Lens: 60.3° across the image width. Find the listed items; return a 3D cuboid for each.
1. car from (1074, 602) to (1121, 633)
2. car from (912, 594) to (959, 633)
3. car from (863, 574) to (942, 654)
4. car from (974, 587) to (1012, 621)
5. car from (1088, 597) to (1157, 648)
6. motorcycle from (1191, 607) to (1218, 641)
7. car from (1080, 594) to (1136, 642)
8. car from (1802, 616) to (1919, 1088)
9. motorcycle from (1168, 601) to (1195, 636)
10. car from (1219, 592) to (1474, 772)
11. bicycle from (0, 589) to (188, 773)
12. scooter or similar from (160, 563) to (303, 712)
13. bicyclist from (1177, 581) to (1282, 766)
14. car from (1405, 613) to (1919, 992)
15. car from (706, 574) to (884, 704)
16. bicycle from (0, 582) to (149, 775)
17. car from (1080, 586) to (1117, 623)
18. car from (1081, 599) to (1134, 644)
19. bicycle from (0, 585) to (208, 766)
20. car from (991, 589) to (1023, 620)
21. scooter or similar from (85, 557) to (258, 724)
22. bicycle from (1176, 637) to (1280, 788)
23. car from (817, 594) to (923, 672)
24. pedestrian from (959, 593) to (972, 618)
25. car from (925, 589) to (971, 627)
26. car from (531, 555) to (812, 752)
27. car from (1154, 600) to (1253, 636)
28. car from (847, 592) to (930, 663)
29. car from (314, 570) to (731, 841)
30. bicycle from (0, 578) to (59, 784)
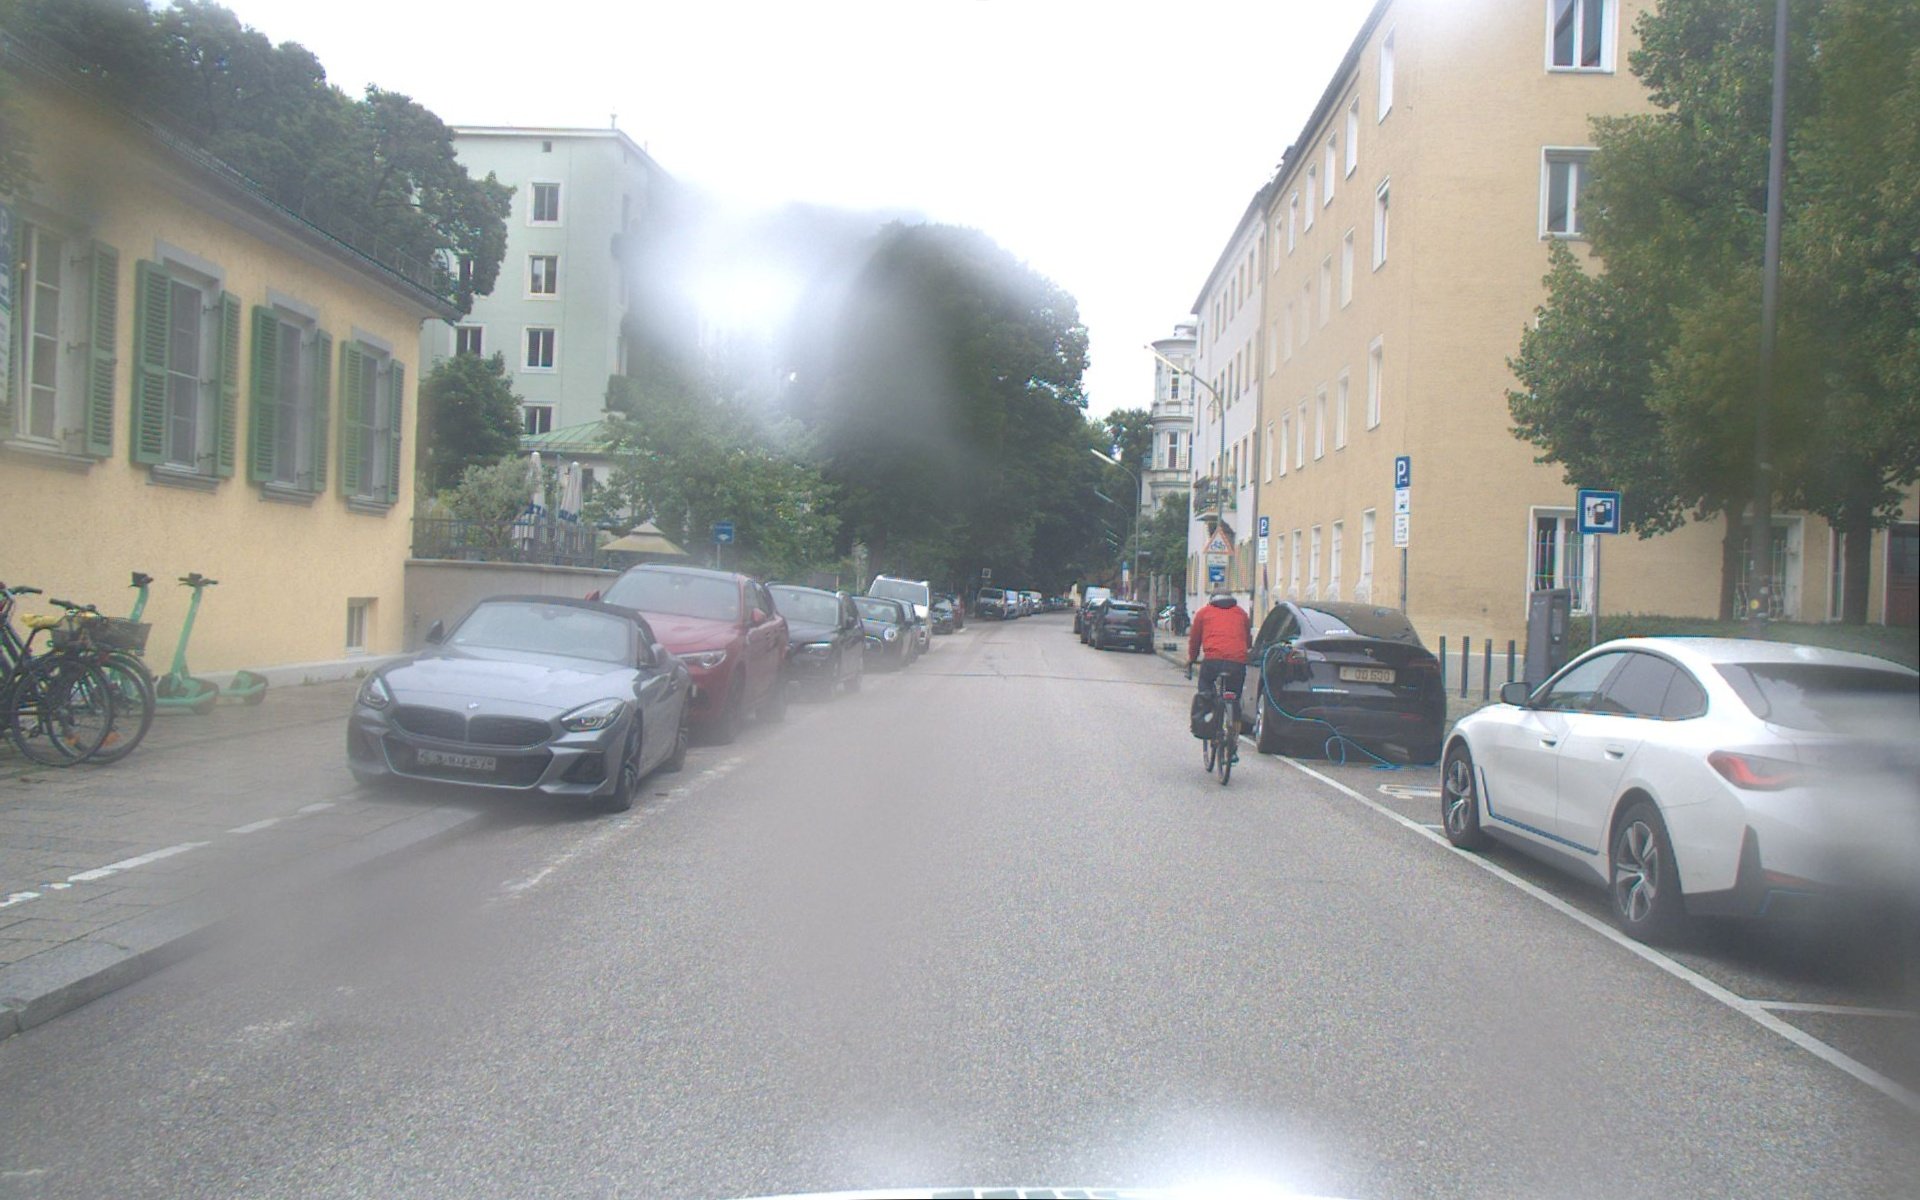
[{"bbox_3d":[6.247,0.769,75.790,1.958,1.342,4.597,0,0,2],"label":"car"},{"bbox_3d":[-0.956,0.519,67.426,1.770,1.426,4.924,3,0,0],"label":"car"},{"bbox_3d":[-1.559,0.368,46.650,1.926,2.025,5.151,3,0,0],"label":"car"},{"bbox_3d":[2.123,0.225,105.228,2.201,1.990,5.455,3,0,2],"label":"car"},{"bbox_3d":[5.401,0.723,55.560,1.822,1.604,4.899,1,0,0],"label":"car"},{"bbox_3d":[9.320,0.903,63.093,0.717,1.260,2.008,3,0,1],"label":"motorcycle"},{"bbox_3d":[5.887,0.701,66.293,1.952,1.736,4.536,4,0,3],"label":"car"},{"bbox_3d":[4.175,0.913,3.954,1.922,1.579,4.851,3,0,2],"label":"car"},{"bbox_3d":[9.624,0.798,71.883,0.839,1.458,2.707,2,0,1],"label":"motorcycle"},{"bbox_3d":[4.227,0.816,18.957,1.952,1.659,5.102,3,0,4],"label":"car"},{"bbox_3d":[-6.073,0.526,11.062,1.595,1.157,0.387,2,0,0],"label":"bicycle"},{"bbox_3d":[-6.809,0.343,15.508,0.356,1.337,1.252,2,0,26],"label":"scooter or similar"},{"bbox_3d":[2.326,0.616,14.388,0.739,1.509,0.982,3,0,4],"label":"bicyclist"},{"bbox_3d":[4.228,0.906,9.414,1.953,1.485,4.956,3,0,0],"label":"car"},{"bbox_3d":[-2.344,0.529,24.719,1.807,1.635,4.745,3,0,4],"label":"car"},{"bbox_3d":[-6.185,0.484,10.687,1.666,1.192,0.352,2,0,0],"label":"bicycle"},{"bbox_3d":[8.759,0.310,104.800,2.157,2.247,4.857,1,0,3],"label":"car"},{"bbox_3d":[5.405,0.751,61.004,1.800,1.558,4.417,1,0,4],"label":"car"},{"bbox_3d":[-6.183,0.508,11.611,1.459,1.169,0.642,3,0,3],"label":"bicycle"},{"bbox_3d":[3.349,0.306,116.894,2.138,1.990,5.168,3,0,2],"label":"car"},{"bbox_3d":[-6.756,0.338,14.224,0.368,1.366,1.351,2,0,28],"label":"scooter or similar"},{"bbox_3d":[2.323,0.940,14.527,0.658,1.161,2.012,3,0,4],"label":"bicycle"},{"bbox_3d":[-1.874,0.666,35.586,1.820,1.571,4.189,0,0,3],"label":"car"},{"bbox_3d":[0.367,0.352,104.812,0.699,1.575,0.752,4,0,-1],"label":"pedestrian"},{"bbox_3d":[-0.542,0.366,77.157,1.848,1.618,4.529,3,0,2],"label":"car"},{"bbox_3d":[-2.905,0.497,17.817,1.862,1.721,4.810,3,0,3],"label":"car"},{"bbox_3d":[12.362,0.898,84.186,4.804,1.558,1.914,2,3,2],"label":"car"},{"bbox_3d":[-1.711,0.626,40.675,1.849,1.570,4.695,2,0,-1],"label":"car"},{"bbox_3d":[-2.989,0.636,12.422,1.858,1.545,4.654,3,0,-1],"label":"car"},{"bbox_3d":[-6.346,0.441,9.986,1.594,1.193,0.467,3,0,9],"label":"bicycle"}]
